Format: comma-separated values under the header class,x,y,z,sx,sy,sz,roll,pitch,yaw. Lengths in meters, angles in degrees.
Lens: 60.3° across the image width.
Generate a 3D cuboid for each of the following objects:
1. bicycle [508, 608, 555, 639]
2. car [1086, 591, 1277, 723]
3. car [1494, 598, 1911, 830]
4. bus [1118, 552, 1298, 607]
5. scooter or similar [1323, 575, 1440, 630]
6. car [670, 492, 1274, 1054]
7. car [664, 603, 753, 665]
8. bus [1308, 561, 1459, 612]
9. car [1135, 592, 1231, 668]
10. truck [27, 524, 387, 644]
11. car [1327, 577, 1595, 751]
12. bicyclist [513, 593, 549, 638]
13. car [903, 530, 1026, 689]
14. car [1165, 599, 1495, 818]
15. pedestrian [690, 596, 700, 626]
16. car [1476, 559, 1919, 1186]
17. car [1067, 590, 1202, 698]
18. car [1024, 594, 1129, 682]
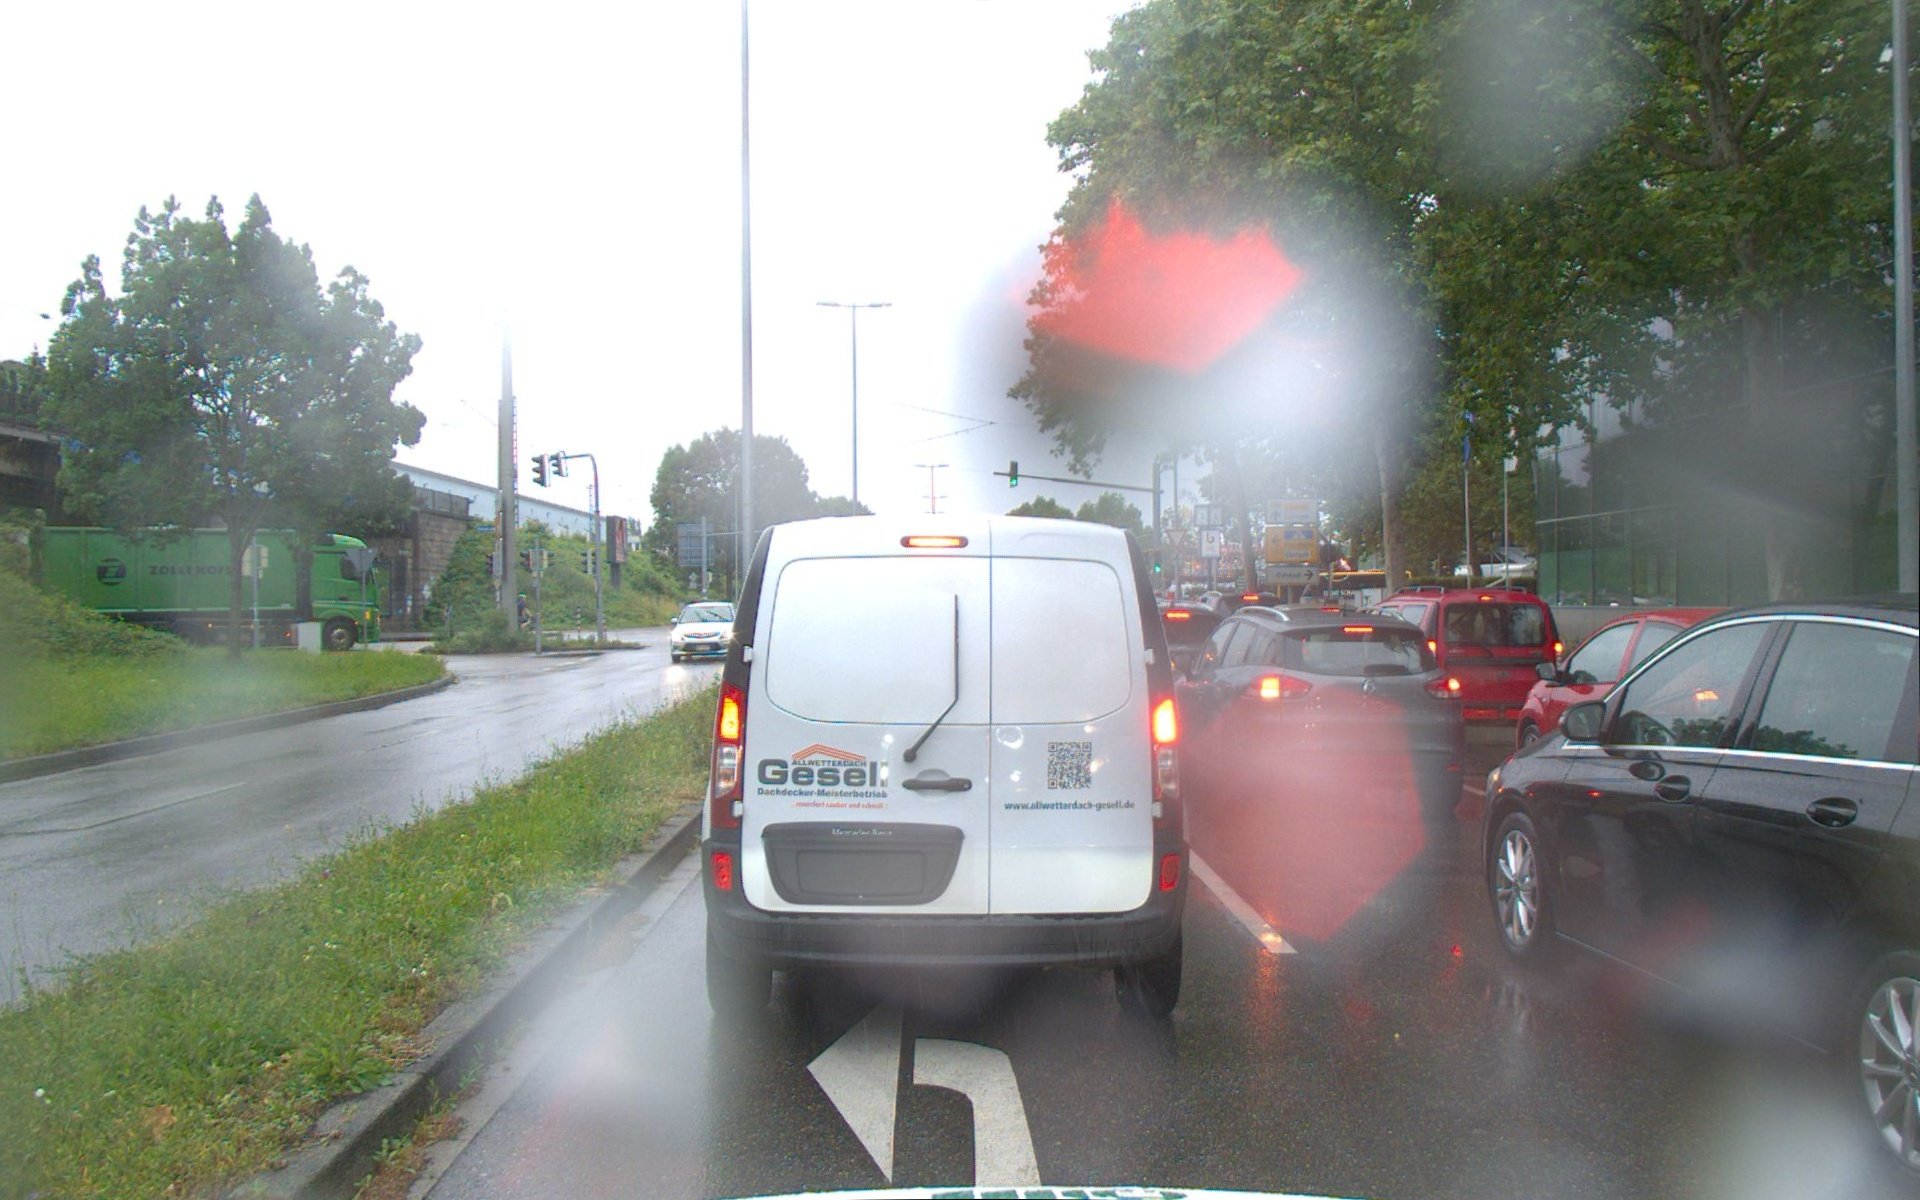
class,x,y,z,sx,sy,sz,roll,pitch,yaw
bicycle,-14.362,0.762,55.331,1.027,0.968,2.865,-1,1,-25
car,2.658,0.637,20.654,1.816,1.486,3.842,0,0,-1
car,5.394,0.744,12.483,1.537,1.488,3.388,0,0,-2
bus,16.590,-1.393,111.143,11.727,3.483,2.315,-1,1,-1
scooter or similar,19.665,0.101,77.352,1.878,2.489,5.239,0,0,-41
car,0.010,0.539,7.634,1.953,1.807,4.584,0,0,-1
car,-6.617,0.861,43.850,1.779,1.488,3.999,-3,0,-2
bus,30.656,-1.025,119.494,11.825,3.483,2.462,-1,1,-26
car,5.167,0.680,38.693,1.674,1.678,3.842,1,0,-1
truck,-23.149,-0.495,51.331,9.957,3.430,2.316,0,0,-37
car,5.510,0.665,18.763,1.676,1.724,4.271,1,-1,-1
bicyclist,-14.361,0.509,55.321,1.028,1.475,0.723,-1,1,-26
car,0.035,0.125,26.392,1.816,2.336,3.842,0,0,-1
car,2.749,0.739,13.125,1.649,1.433,3.842,1,0,-2
pedestrian,-15.362,0.626,95.851,0.532,1.746,0.563,1,-1,-5
car,3.243,0.688,5.439,1.712,1.582,4.089,0,0,-2
car,2.870,0.679,27.885,1.816,1.678,3.842,0,0,-1
car,2.304,0.731,33.538,1.816,1.678,3.842,0,0,-1
